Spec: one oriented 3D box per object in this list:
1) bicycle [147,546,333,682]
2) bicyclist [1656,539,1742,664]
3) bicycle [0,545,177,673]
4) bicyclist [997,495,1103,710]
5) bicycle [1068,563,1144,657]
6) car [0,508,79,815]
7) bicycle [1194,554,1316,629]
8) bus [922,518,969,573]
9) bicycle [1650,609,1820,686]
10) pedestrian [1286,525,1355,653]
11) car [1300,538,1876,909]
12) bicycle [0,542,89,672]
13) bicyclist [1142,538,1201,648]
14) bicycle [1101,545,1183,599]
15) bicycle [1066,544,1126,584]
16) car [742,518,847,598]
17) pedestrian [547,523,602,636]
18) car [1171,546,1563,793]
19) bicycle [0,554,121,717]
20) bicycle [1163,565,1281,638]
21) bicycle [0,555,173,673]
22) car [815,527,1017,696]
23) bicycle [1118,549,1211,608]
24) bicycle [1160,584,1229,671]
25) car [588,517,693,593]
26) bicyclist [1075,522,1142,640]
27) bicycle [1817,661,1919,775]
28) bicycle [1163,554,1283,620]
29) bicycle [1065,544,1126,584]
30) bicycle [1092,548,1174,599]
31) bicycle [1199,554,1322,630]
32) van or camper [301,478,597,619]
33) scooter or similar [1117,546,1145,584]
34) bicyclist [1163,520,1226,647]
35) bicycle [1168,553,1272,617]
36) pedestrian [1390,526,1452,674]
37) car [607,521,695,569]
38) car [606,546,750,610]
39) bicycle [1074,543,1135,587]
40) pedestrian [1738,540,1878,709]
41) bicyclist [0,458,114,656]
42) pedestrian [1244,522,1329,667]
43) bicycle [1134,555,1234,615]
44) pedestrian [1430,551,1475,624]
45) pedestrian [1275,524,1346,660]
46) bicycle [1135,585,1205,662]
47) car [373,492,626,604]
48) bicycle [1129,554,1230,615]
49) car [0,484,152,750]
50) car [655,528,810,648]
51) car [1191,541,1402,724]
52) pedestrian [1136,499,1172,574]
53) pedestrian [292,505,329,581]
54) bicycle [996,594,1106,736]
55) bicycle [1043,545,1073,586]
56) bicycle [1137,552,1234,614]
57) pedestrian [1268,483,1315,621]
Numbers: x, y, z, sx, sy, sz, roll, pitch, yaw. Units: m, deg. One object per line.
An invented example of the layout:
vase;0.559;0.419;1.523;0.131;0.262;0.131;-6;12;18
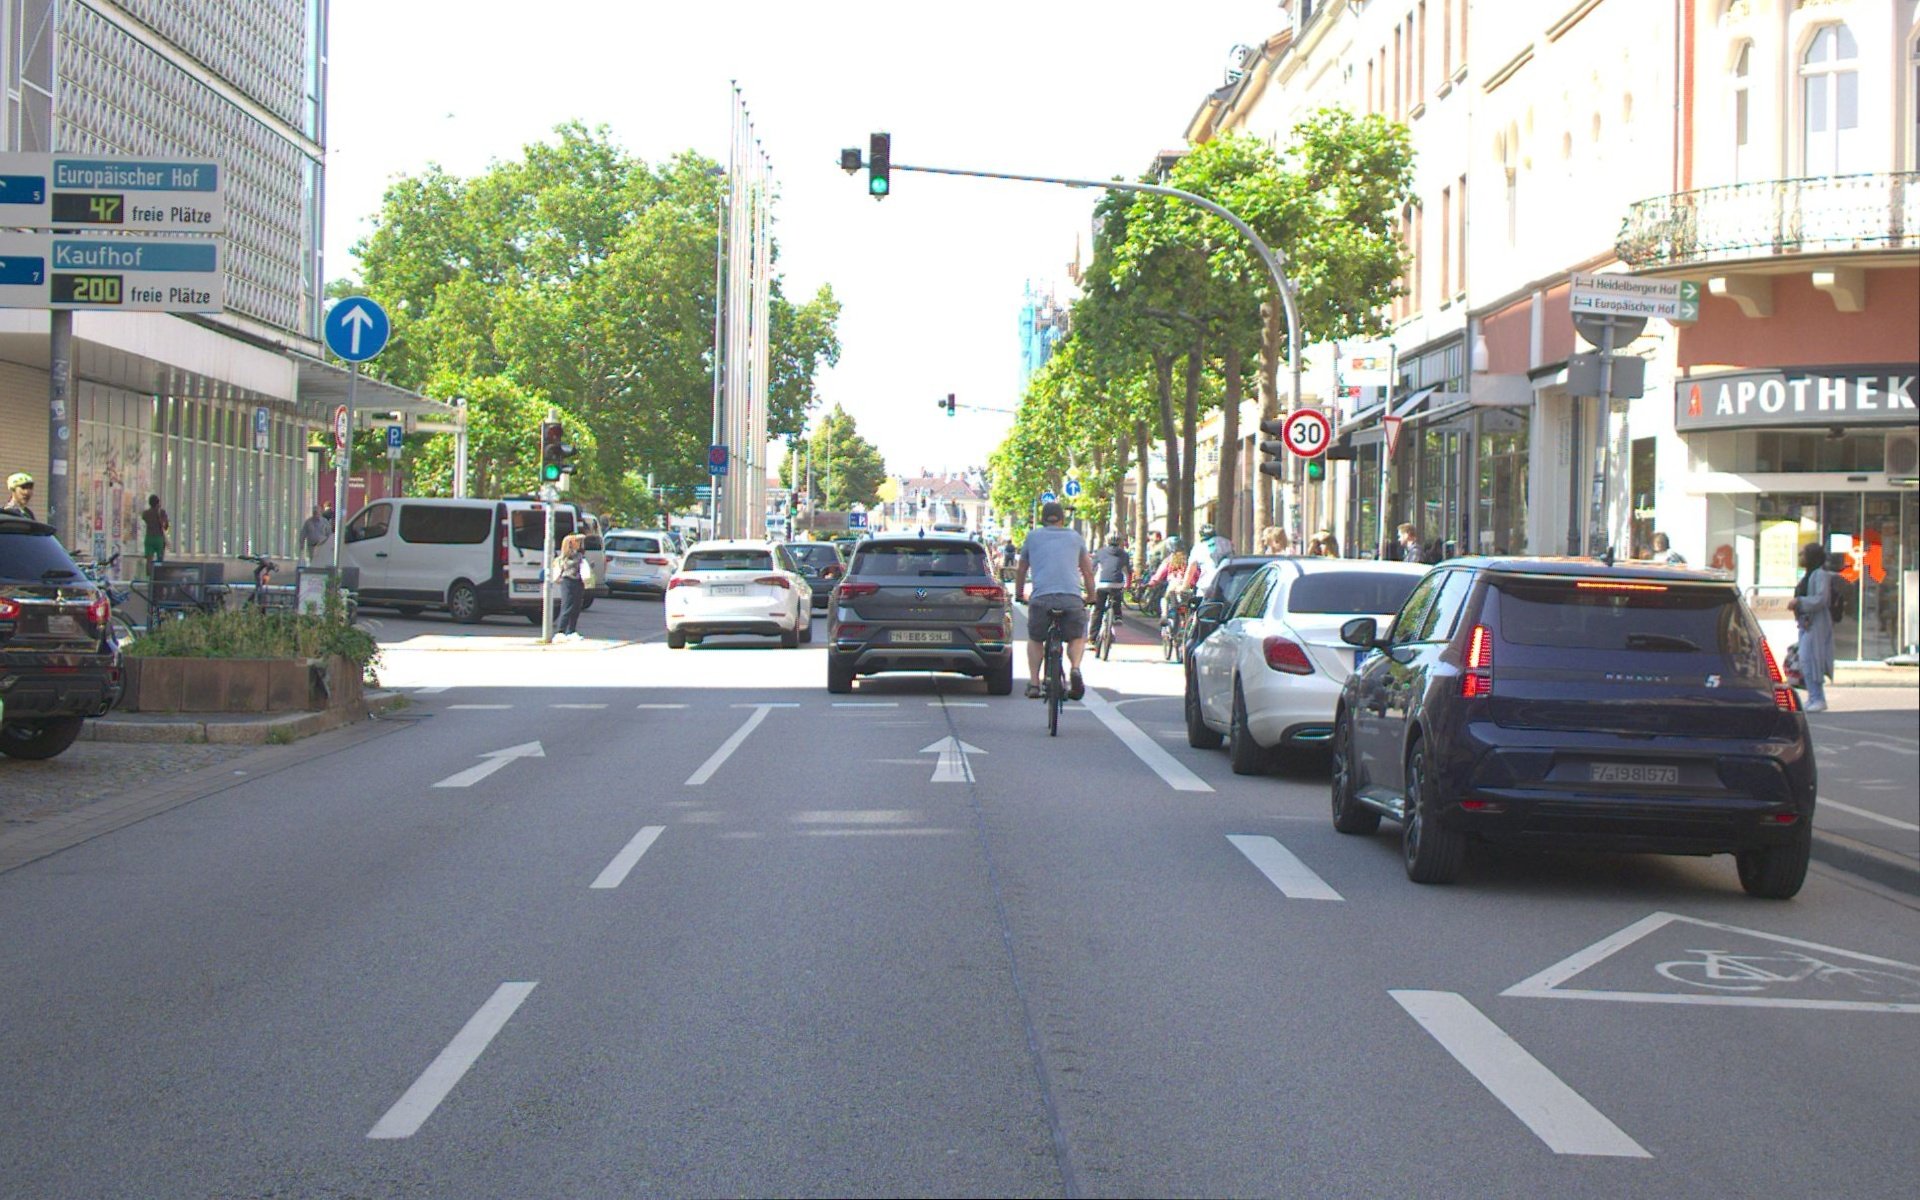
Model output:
bicycle;-6.660;0.116;31.729;2.063;1.169;0.603;3;0;45
bicyclist;8.430;0.017;39.247;0.859;1.406;0.501;1;1;1
bicycle;-8.262;0.071;32.195;2.062;1.165;0.604;1;0;36
bicyclist;0.690;0.012;26.653;0.774;1.629;0.851;1;1;0
bicycle;1.837;0.111;43.547;0.698;1.123;2.082;3;1;-4
car;-7.177;0.163;18.435;4.159;1.631;2.102;5;1;8
bicycle;4.580;-0.134;53.535;1.840;1.123;0.666;1;0;2
bus;-1.068;-3.684;236.347;2.995;3.581;11.745;1;0;-1
bicycle;8.844;0.544;39.256;1.821;0.841;0.501;1;1;1
pedestrian;4.812;-0.150;45.937;0.787;1.685;0.641;1;1;-3
car;2.927;0.523;16.991;1.886;1.486;4.290;4;0;-1
bicycle;-8.901;0.031;31.051;2.061;1.123;0.646;2;1;26
bicyclist;2.665;-0.088;43.418;0.600;1.353;0.721;2;0;-4
bicycle;4.279;-0.653;80.665;1.840;1.193;0.673;2;1;7
bicycle;4.267;-1.126;107.792;1.844;1.197;0.608;2;1;2
car;-3.087;-0.802;64.803;1.845;1.444;4.000;0;1;-1
pedestrian;-5.448;-0.292;48.559;0.639;1.554;0.681;2;1;-12
car;2.693;0.399;23.932;1.952;1.420;4.887;3;1;-2
bicycle;-7.291;0.222;25.171;2.140;1.123;0.485;3;2;1
bicycle;4.161;0.020;54.675;1.840;1.123;0.666;1;0;2
bicycle;-9.033;0.130;34.653;1.987;1.123;0.799;1;2;7
car;-0.490;0.069;33.860;1.845;1.554;4.001;0;1;-3
bicycle;4.321;-0.447;72.641;1.839;1.123;0.497;3;2;-8
bicycle;2.771;0.312;40.821;0.630;0.976;2.089;1;1;-1
car;-6.921;-1.005;74.785;1.799;1.518;4.739;2;1;0
bicyclist;1.864;-0.242;43.351;0.698;1.436;0.791;3;1;-4
bicycle;10.583;1.326;36.977;2.567;1.123;0.627;4;-4;16
bicycle;4.621;-0.227;60.314;1.987;1.123;0.761;1;0;13
bicycle;4.233;-1.126;107.286;1.844;1.197;0.545;2;1;2
bicycle;4.108;-0.633;81.732;1.841;1.123;0.497;3;1;11
bicycle;4.637;-0.125;52.953;1.840;1.123;0.666;1;0;7
van or camper;-8.216;-0.834;55.022;4.656;2.006;1.995;4;2;39
scooter or similar;5.515;-1.135;110.982;0.420;1.174;1.232;1;1;-21
bicyclist;2.777;-0.201;40.819;0.630;1.476;1.198;1;1;-1
bicycle;4.706;-0.268;62.288;1.840;1.123;0.448;1;0;3
pedestrian;5.860;0.004;43.670;0.639;1.836;0.614;3;0;12
car;-13.283;-2.358;148.156;1.861;1.948;4.756;2;0;21
car;-8.088;-0.657;99.172;1.894;1.536;4.855;3;4;26
bicycle;4.206;-1.027;100.120;1.728;1.213;0.477;2;1;2
pedestrian;8.199;0.247;33.278;0.900;1.606;0.976;0;-2;-19
bicyclist;-9.144;-0.434;34.719;0.842;1.953;1.017;1;1;6
pedestrian;4.069;-0.060;42.865;0.639;1.703;0.790;-10;-1;-5
bicycle;4.405;-0.303;67.688;1.839;1.089;0.565;2;1;-10
pedestrian;8.536;-0.215;59.612;0.681;1.249;0.532;0;1;-3
pedestrian;4.750;-0.113;46.590;0.787;1.789;0.641;3;1;-3
bicycle;2.644;0.288;43.422;0.600;0.922;2.088;2;0;-4
car;-8.503;-0.975;63.284;4.441;1.903;2.005;3;2;36
bicycle;4.208;-0.298;65.974;1.840;1.089;0.564;3;0;0
car;-7.441;-0.004;21.842;4.026;1.597;1.956;4;0;23
car;-3.063;-0.194;46.974;1.845;1.554;4.000;0;1;0
car;3.043;0.275;30.516;1.629;1.473;3.730;2;0;9
pedestrian;4.492;-1.470;79.672;0.639;1.683;0.843;4;2;-3
pedestrian;-13.306;-1.173;70.456;0.678;1.554;0.641;1;1;-5
bicycle;0.685;0.482;26.679;0.774;1.002;2.329;1;1;0
bicycle;2.407;-0.855;84.669;0.647;0.994;2.031;1;1;0
bicycle;4.240;-0.317;64.619;1.840;1.123;0.594;1;0;-36
pedestrian;4.365;-0.637;45.242;0.452;1.789;0.608;3;1;-3
